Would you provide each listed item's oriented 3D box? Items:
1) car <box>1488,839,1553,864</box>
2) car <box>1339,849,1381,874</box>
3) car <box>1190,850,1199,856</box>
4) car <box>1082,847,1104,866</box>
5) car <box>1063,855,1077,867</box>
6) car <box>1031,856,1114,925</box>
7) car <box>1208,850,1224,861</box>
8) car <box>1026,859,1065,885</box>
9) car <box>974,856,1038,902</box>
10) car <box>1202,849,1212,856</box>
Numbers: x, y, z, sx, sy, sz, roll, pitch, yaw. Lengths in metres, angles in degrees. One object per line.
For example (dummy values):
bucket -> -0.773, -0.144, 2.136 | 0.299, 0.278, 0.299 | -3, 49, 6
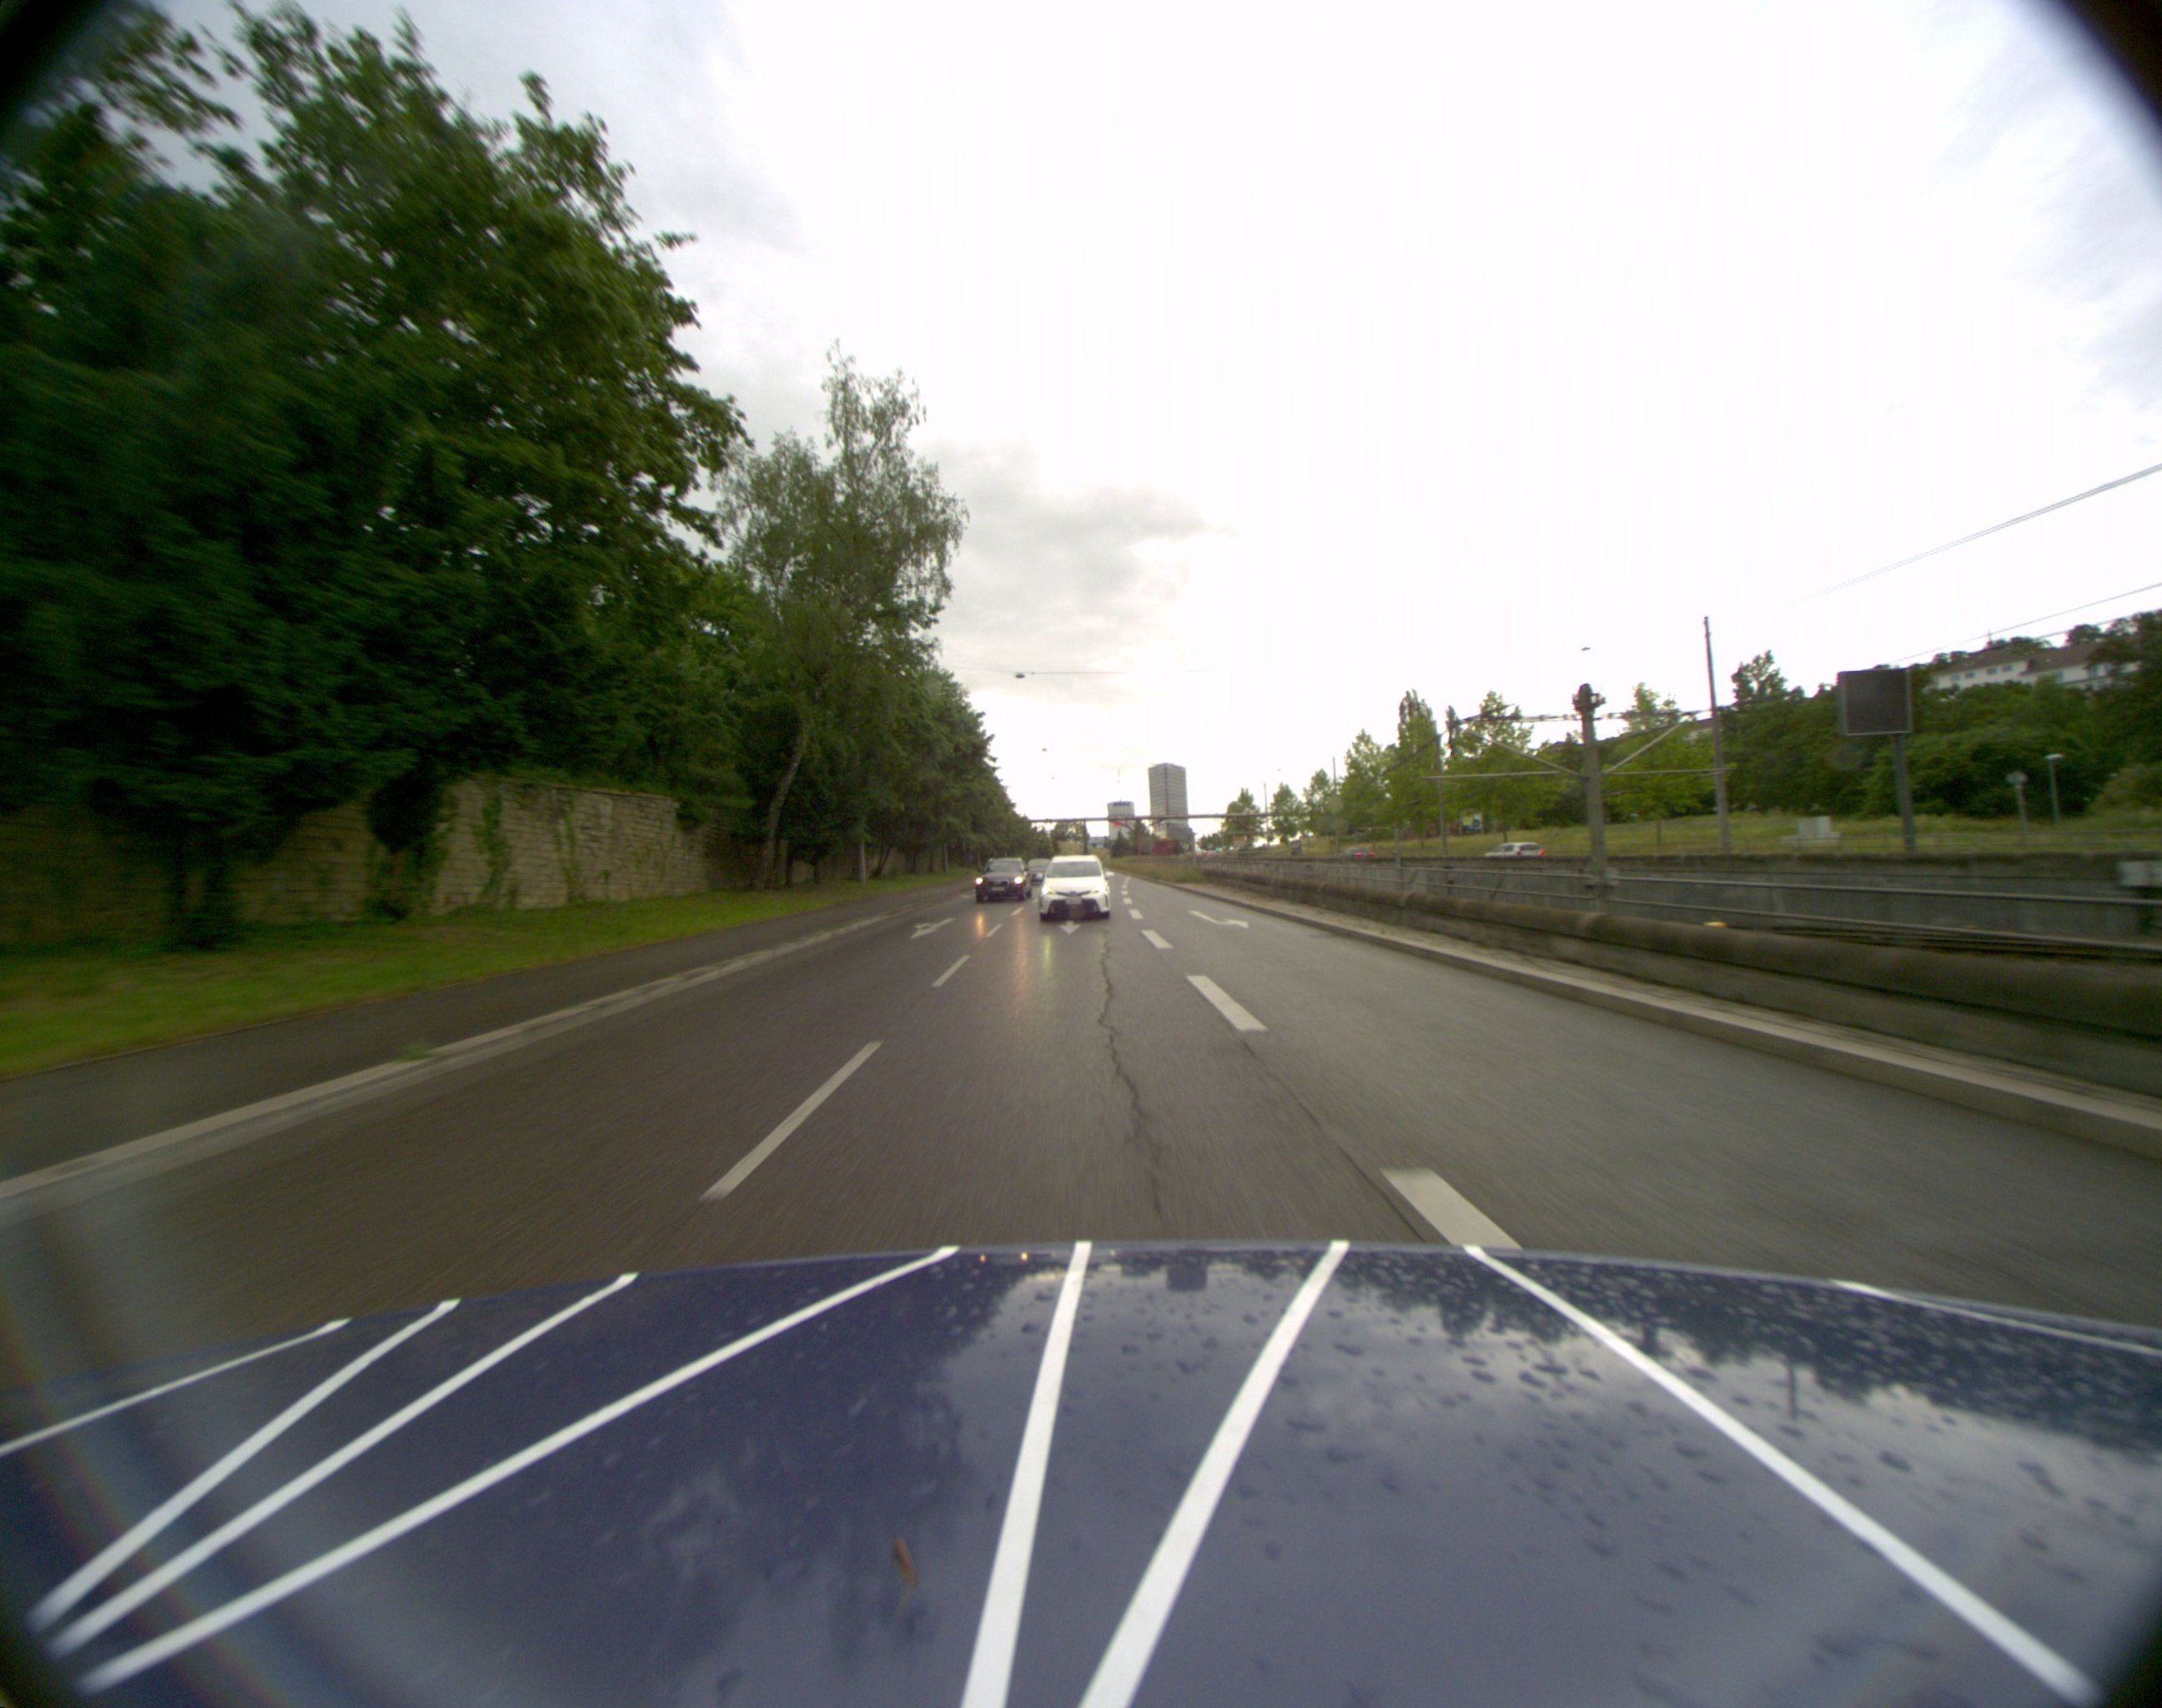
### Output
car -> 24.525, -0.123, 42.508 | 1.559, 1.284, 3.559 | -3, -1, 0
car -> 24.495, 0.665, 66.938 | 1.896, 1.959, 4.034 | -5, 0, -3
car -> 30.071, -0.352, 201.778 | 1.661, 1.519, 4.436 | -3, -1, 0
car -> 1.251, 0.251, 75.540 | 1.998, 1.761, 4.002 | -1, -1, 4
car -> -1.646, 1.055, 114.391 | 1.998, 1.761, 4.000 | -3, -1, 0
car -> -0.101, 0.874, 20.302 | 1.924, 1.604, 4.376 | -1, 0, 3
car -> 24.129, 0.276, 136.012 | 1.895, 1.634, 4.357 | -5, 0, 0
car -> -2.052, 1.057, 45.239 | 1.845, 1.377, 4.001 | -2, 0, 3
car -> -2.818, 0.908, 29.343 | 1.927, 1.591, 4.279 | -1, 0, 1
car -> 34.755, -0.421, 209.675 | 1.661, 1.565, 3.790 | -5, 0, -3
